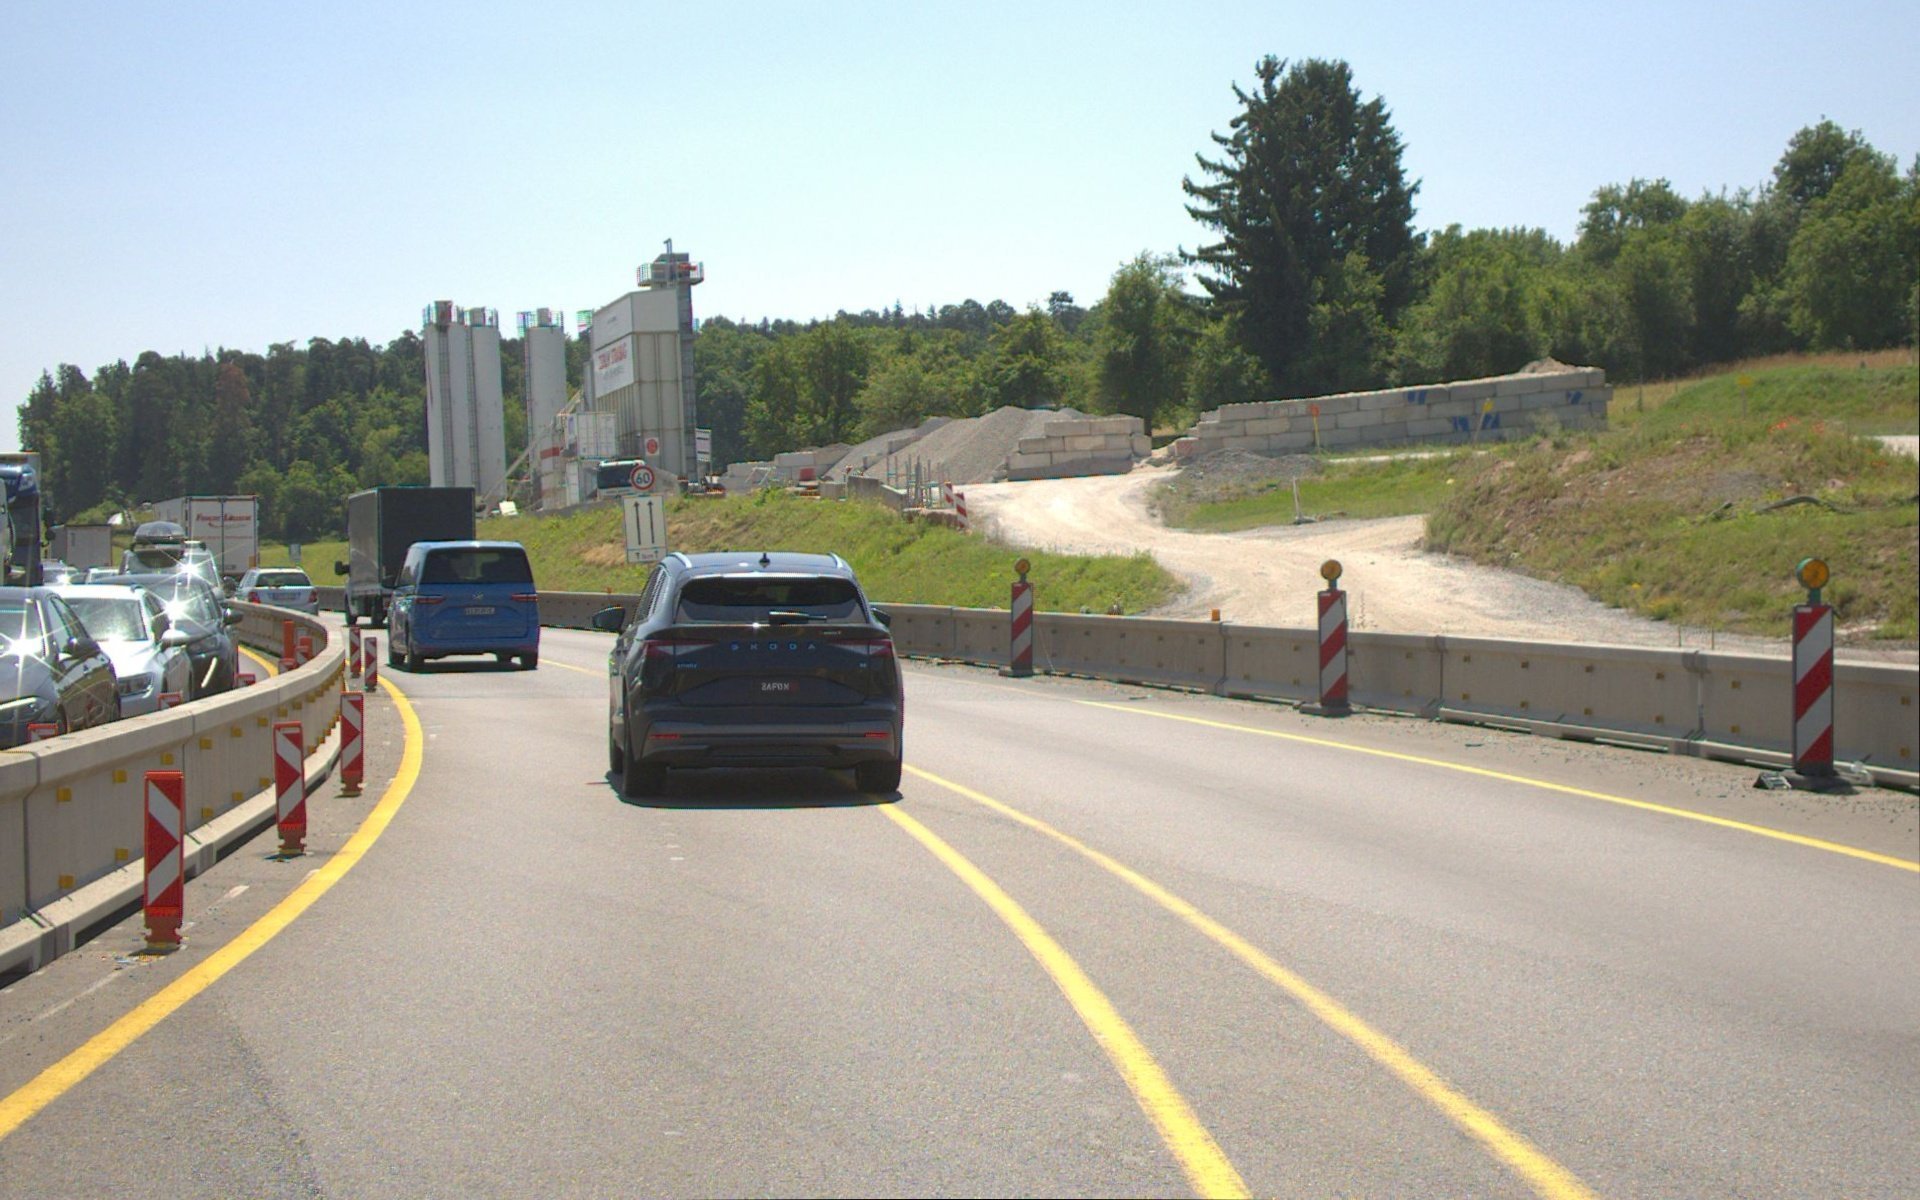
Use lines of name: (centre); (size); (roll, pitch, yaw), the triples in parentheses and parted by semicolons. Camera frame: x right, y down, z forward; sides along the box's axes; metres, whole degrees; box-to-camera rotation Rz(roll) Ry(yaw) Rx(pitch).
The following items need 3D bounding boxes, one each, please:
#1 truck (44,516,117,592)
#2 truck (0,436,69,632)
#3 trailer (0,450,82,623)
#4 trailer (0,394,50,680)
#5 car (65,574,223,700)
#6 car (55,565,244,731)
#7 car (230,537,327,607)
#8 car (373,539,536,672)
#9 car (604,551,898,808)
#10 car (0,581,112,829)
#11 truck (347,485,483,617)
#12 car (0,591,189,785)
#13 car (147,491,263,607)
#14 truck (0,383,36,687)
truck: (-50.305, -2.694, 196.440); (3.474, 4.206, 10.380); (-1, 1, -17)
truck: (-21.868, -1.450, 77.841); (2.772, 4.123, 10.873); (-2, 1, -12)
trailer: (-23.888, -1.585, 87.103); (2.736, 4.123, 8.188); (-2, 1, -12)
trailer: (-15.639, -0.925, 52.995); (2.704, 3.964, 11.247); (-2, 1, -13)
car: (-10.141, 0.412, 42.966); (1.735, 1.411, 4.798); (-1, 1, -11)
car: (-8.393, 0.451, 35.860); (1.677, 1.539, 4.119); (0, 2, -10)
car: (-16.305, -0.676, 82.083); (2.045, 1.521, 5.067); (-3, 1, -13)
car: (-7.588, 0.035, 51.324); (1.993, 1.837, 4.001); (-2, 2, -14)
car: (-1.486, 0.473, 23.714); (1.842, 1.576, 4.001); (0, 1, -5)
car: (-6.752, 0.640, 22.804); (1.655, 1.448, 4.249); (-1, 1, -7)
truck: (-13.205, -1.183, 83.001); (2.672, 2.935, 5.622); (-3, 1, -13)
car: (-7.546, 0.687, 29.178); (1.677, 1.439, 4.555); (-1, 1, -10)
car: (-28.012, -1.900, 127.230); (3.435, 4.087, 9.200); (1, 1, -17)
truck: (-14.337, -0.852, 47.452); (2.699, 3.955, 6.201); (-2, 1, -13)
